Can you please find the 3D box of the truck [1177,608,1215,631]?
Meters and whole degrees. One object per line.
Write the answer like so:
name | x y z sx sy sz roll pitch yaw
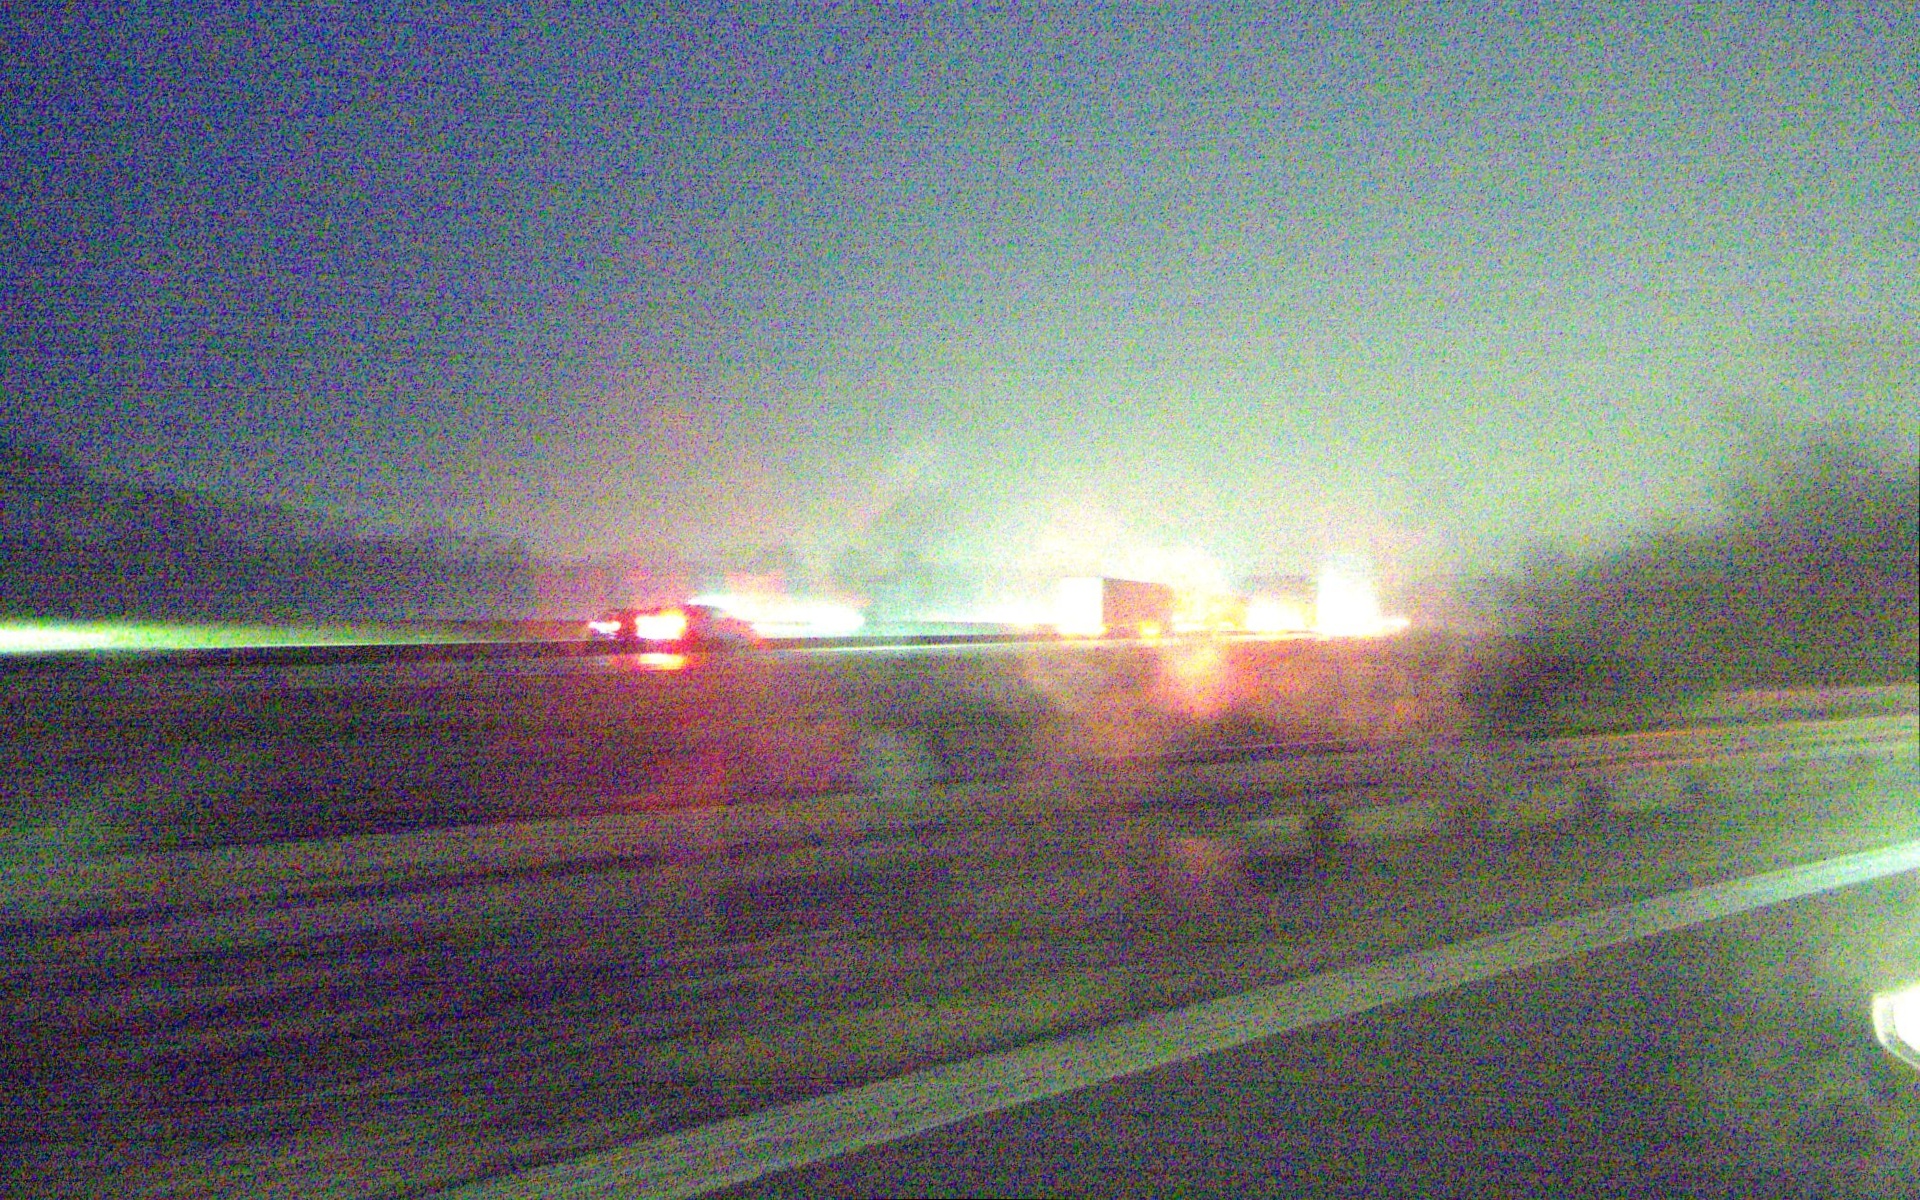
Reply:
truck | 23.781 1.934 100.858 1.963 2.040 7.244 3 1 27

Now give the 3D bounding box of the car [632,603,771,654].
car | -9.113 0.998 35.797 1.903 1.636 4.845 1 -1 31

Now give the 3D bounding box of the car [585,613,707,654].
car | -11.908 1.278 38.366 1.735 1.395 4.417 2 -1 31

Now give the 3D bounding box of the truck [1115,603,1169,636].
truck | 13.147 1.417 72.279 1.965 2.244 5.527 1 0 31

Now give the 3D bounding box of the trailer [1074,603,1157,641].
trailer | 10.643 1.396 67.986 1.965 2.313 9.637 4 2 31

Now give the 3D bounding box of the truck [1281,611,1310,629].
truck | 46.225 2.782 138.198 1.964 2.296 9.298 1 0 30
